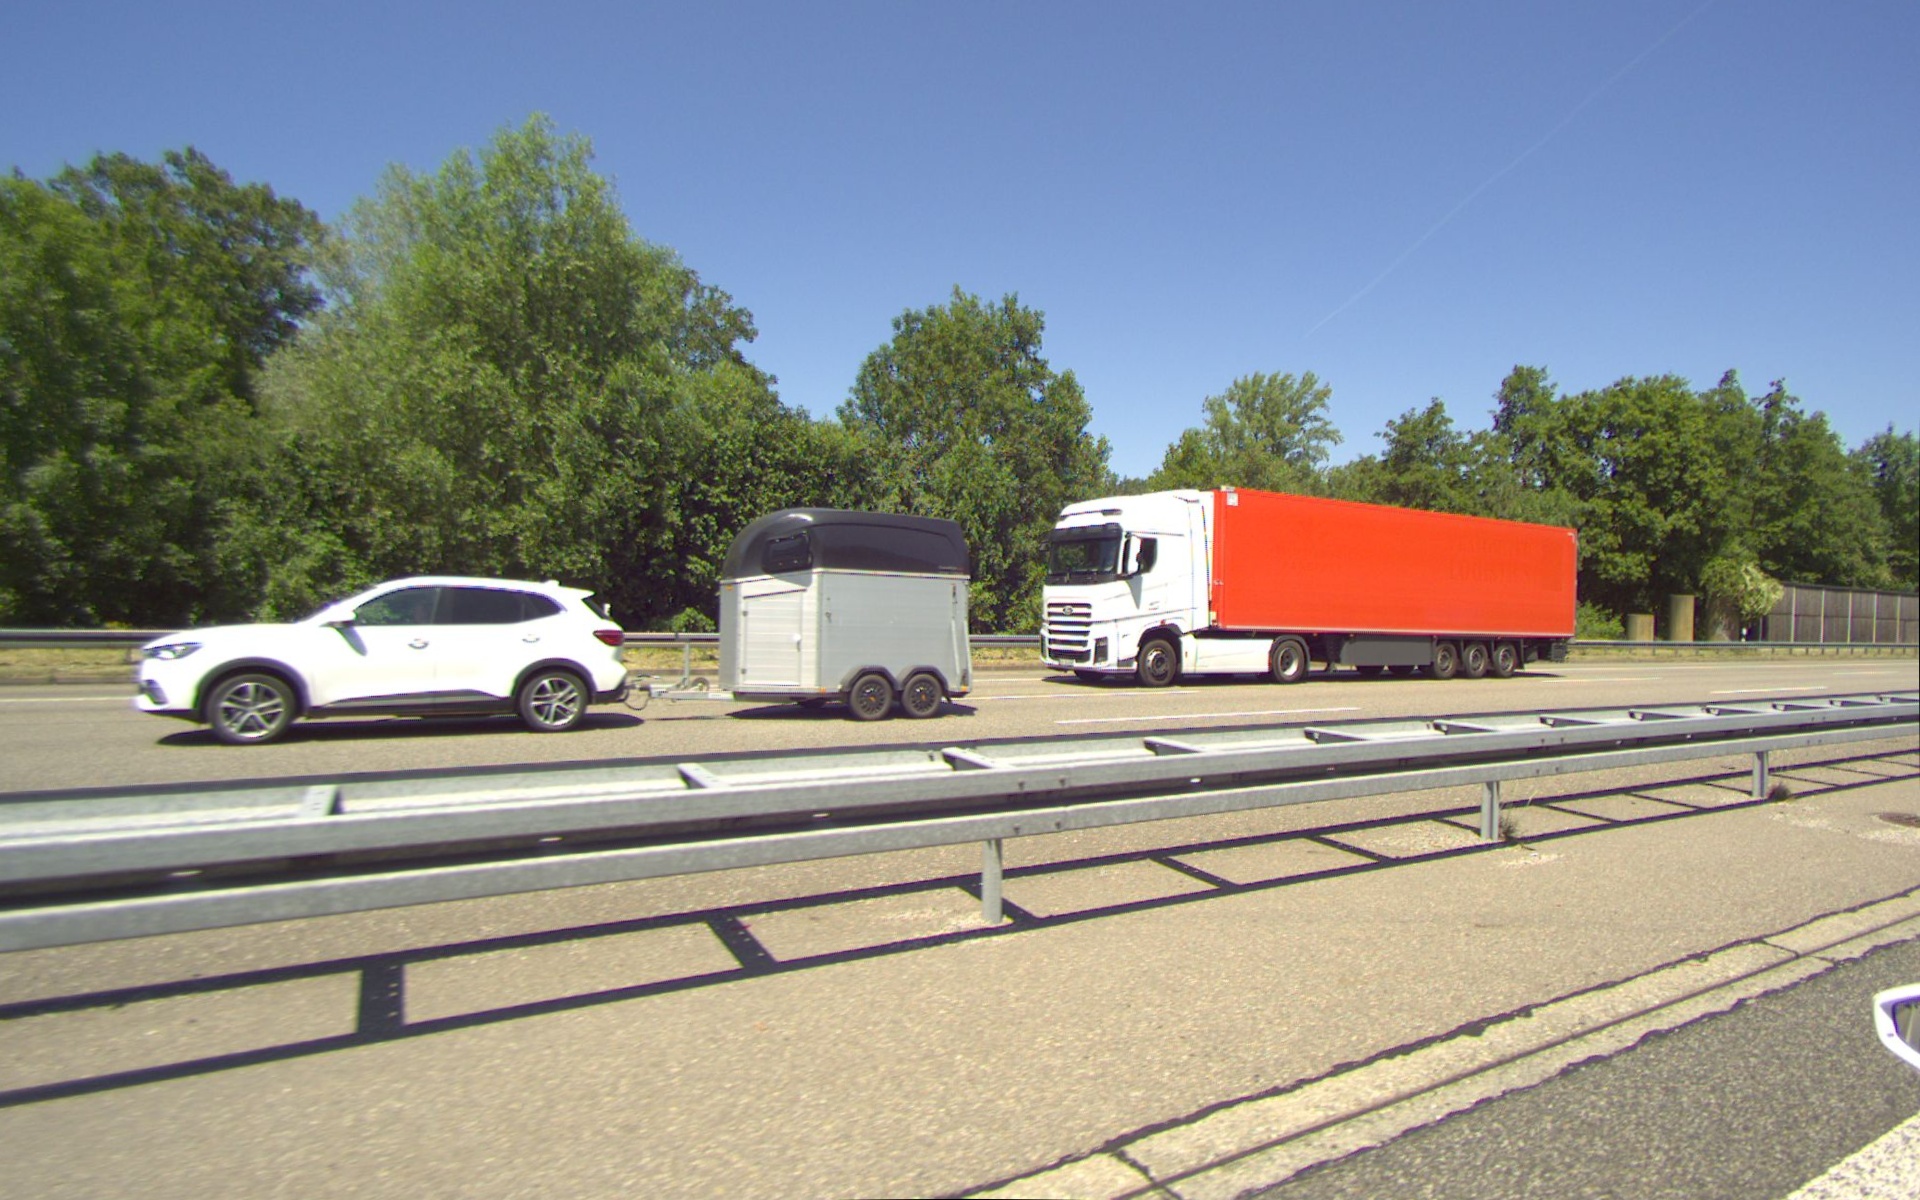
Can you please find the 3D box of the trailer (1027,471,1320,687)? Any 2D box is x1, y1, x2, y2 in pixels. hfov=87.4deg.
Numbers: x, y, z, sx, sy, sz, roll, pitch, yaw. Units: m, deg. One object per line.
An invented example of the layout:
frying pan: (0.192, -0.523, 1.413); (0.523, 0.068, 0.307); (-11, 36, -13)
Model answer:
trailer: (4.682, -0.334, 21.770); (5.968, 4.096, 2.674); (1, 0, -31)

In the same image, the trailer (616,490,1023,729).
trailer: (-1.781, 0.161, 13.310); (4.900, 2.648, 2.075); (2, -1, -32)

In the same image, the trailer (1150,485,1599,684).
trailer: (11.061, -0.172, 25.529); (13.885, 4.122, 2.671); (1, 0, -30)

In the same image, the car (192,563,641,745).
car: (-5.741, 0.538, 10.971); (3.974, 1.653, 1.826); (2, -1, -31)
